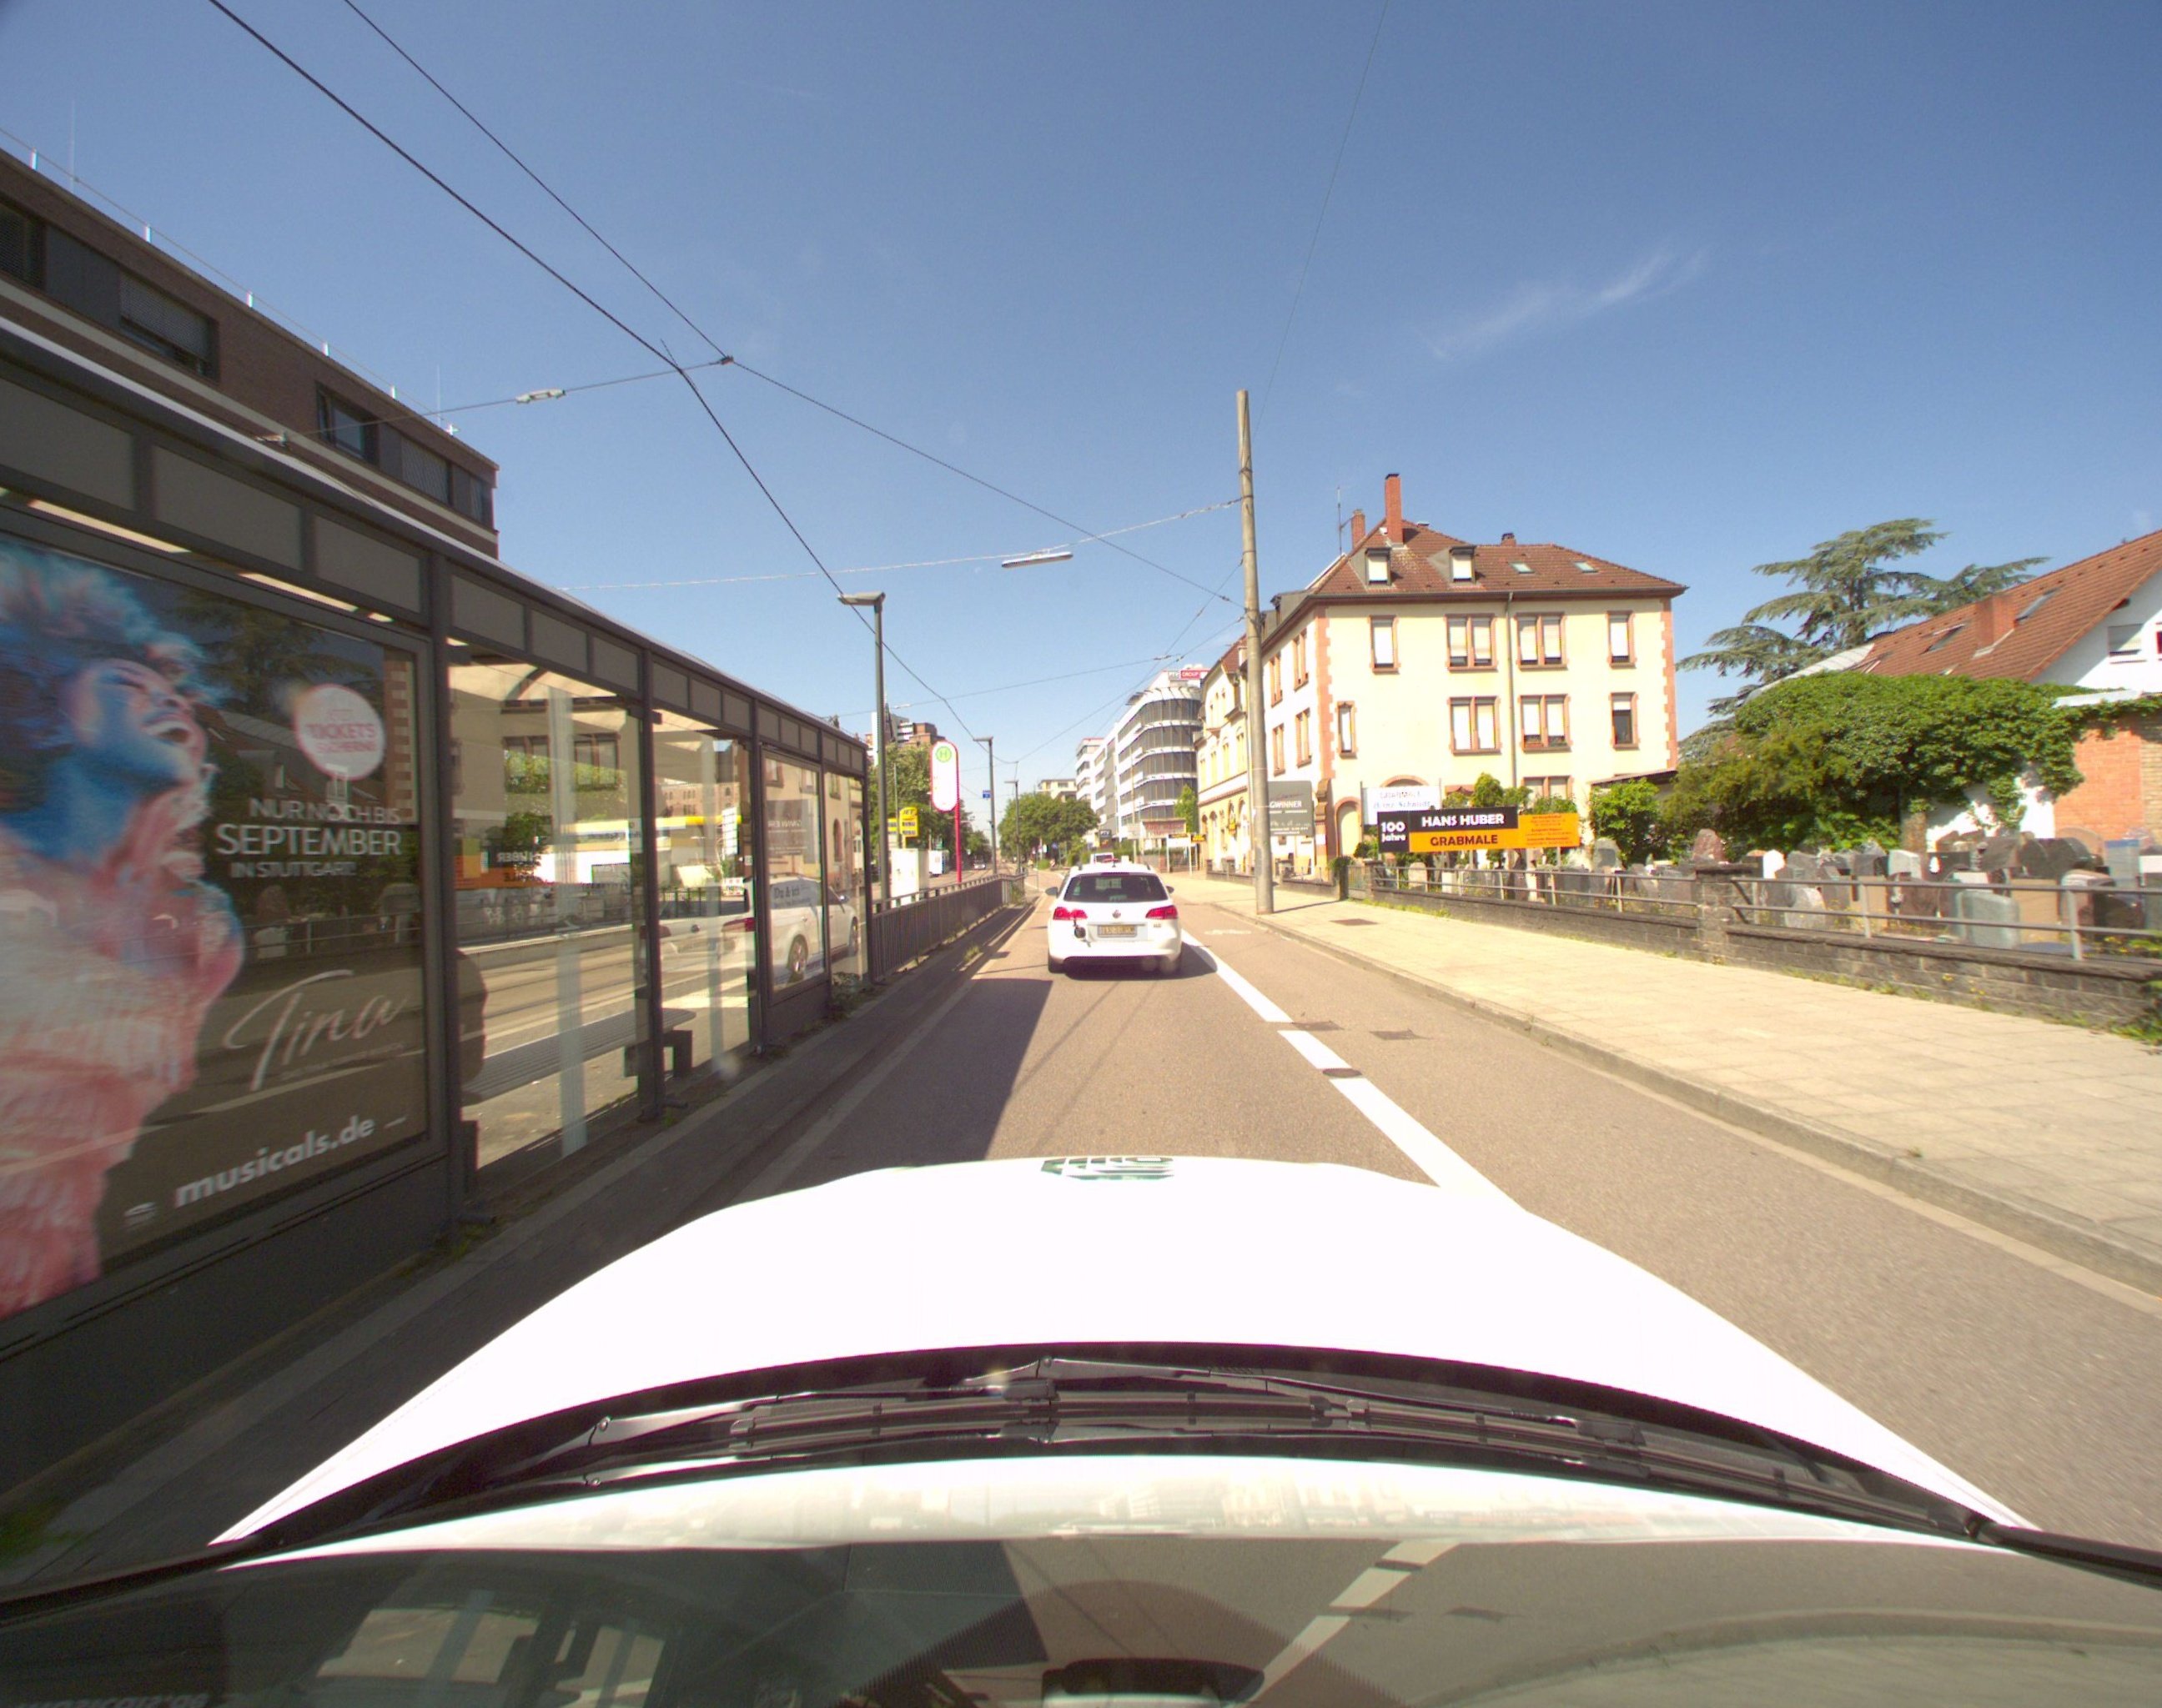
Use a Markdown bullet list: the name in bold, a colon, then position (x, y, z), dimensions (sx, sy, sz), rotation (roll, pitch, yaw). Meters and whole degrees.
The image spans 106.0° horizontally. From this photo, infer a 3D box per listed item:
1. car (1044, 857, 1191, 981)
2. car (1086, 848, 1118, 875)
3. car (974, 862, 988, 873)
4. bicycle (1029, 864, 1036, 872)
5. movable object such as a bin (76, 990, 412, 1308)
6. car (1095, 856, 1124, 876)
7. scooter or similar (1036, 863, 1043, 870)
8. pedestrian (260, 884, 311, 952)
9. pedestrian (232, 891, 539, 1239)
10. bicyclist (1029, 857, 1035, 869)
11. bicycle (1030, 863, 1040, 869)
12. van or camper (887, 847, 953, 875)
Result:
- **car**: position (0.388, 0.790, 12.053), dimensions (1.749, 1.442, 4.410), rotation (-1, 0, -2)
- **car**: position (1.745, 0.667, 69.846), dimensions (1.974, 2.054, 5.181), rotation (-4, 0, -5)
- **car**: position (-16.599, 2.233, 135.295), dimensions (1.741, 1.571, 3.890), rotation (-3, -1, 0)
- **bicycle**: position (-6.702, 1.920, 112.159), dimensions (0.809, 1.078, 2.008), rotation (-2, 0, -5)
- **movable object such as a bin**: position (-2.876, 0.983, 2.845), dimensions (0.627, 0.900, 0.489), rotation (-3, 0, 1)
- **car**: position (2.179, 0.927, 63.820), dimensions (1.719, 1.443, 4.304), rotation (-4, 0, -5)
- **scooter or similar**: position (-6.925, 2.032, 135.753), dimensions (1.139, 1.154, 0.493), rotation (-2, -1, 0)
- **pedestrian**: position (-20.483, 1.634, 20.980), dimensions (0.579, 1.664, 0.700), rotation (-2, 0, 0)
- **pedestrian**: position (-2.873, 0.816, 3.441), dimensions (0.627, 1.255, 0.710), rotation (-3, 0, 1)
- **bicyclist**: position (-6.746, 1.231, 112.245), dimensions (0.784, 1.629, 0.737), rotation (0, -1, -5)
- **bicycle**: position (-8.357, 2.192, 148.589), dimensions (1.773, 1.083, 0.595), rotation (-3, -1, -9)
- **van or camper**: position (-17.791, 0.810, 90.238), dimensions (6.651, 2.967, 2.623), rotation (1, -1, 9)
